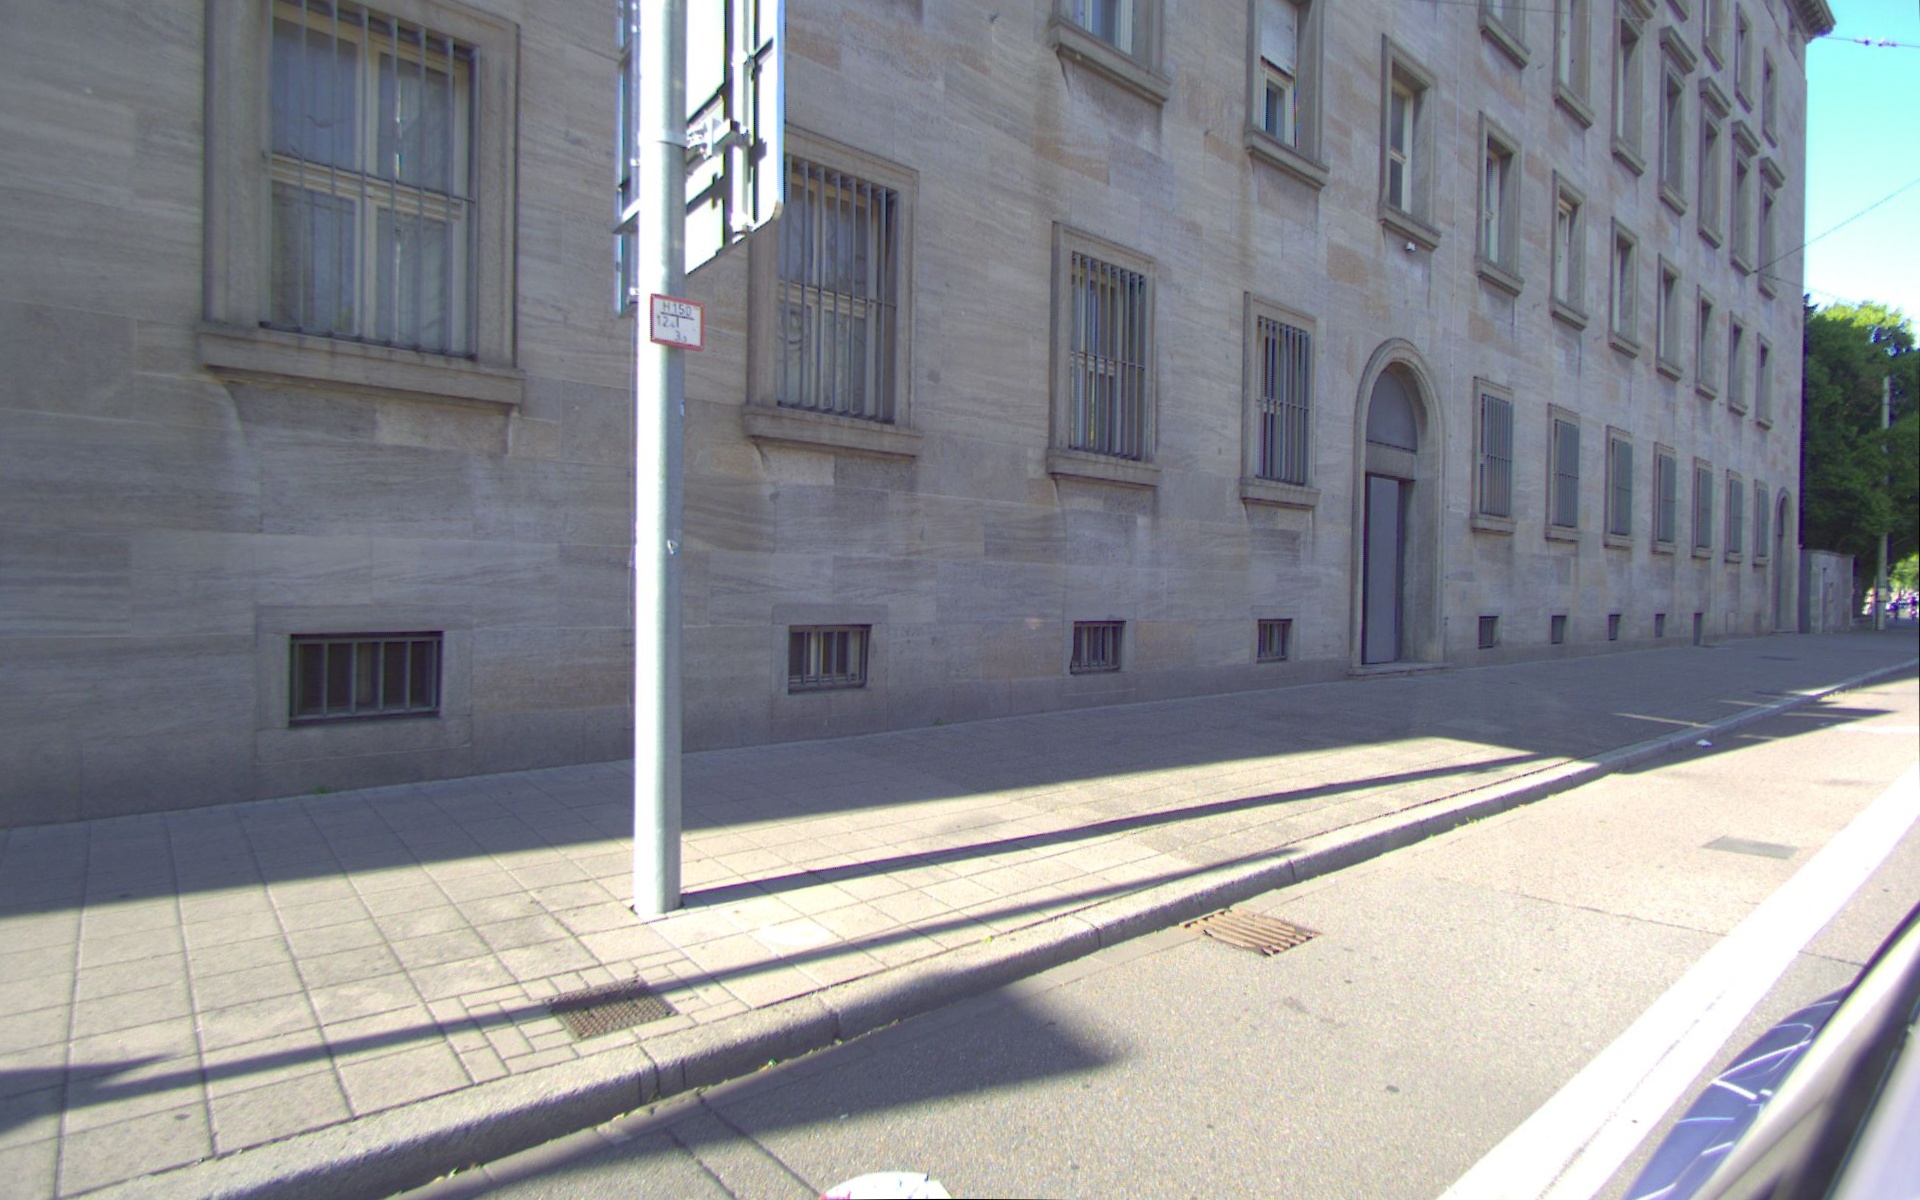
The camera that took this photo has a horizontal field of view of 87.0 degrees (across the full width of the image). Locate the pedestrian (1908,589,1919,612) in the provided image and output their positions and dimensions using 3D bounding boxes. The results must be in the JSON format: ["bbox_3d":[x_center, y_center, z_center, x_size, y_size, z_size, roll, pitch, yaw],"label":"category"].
[{"bbox_3d":[72.863,0.037,77.125,0.828,1.742,0.792,1,1,43],"label":"pedestrian"}]

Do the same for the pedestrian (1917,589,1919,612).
[{"bbox_3d":[72.841,0.068,76.352,0.791,1.742,0.870,0,1,-44],"label":"pedestrian"}]
